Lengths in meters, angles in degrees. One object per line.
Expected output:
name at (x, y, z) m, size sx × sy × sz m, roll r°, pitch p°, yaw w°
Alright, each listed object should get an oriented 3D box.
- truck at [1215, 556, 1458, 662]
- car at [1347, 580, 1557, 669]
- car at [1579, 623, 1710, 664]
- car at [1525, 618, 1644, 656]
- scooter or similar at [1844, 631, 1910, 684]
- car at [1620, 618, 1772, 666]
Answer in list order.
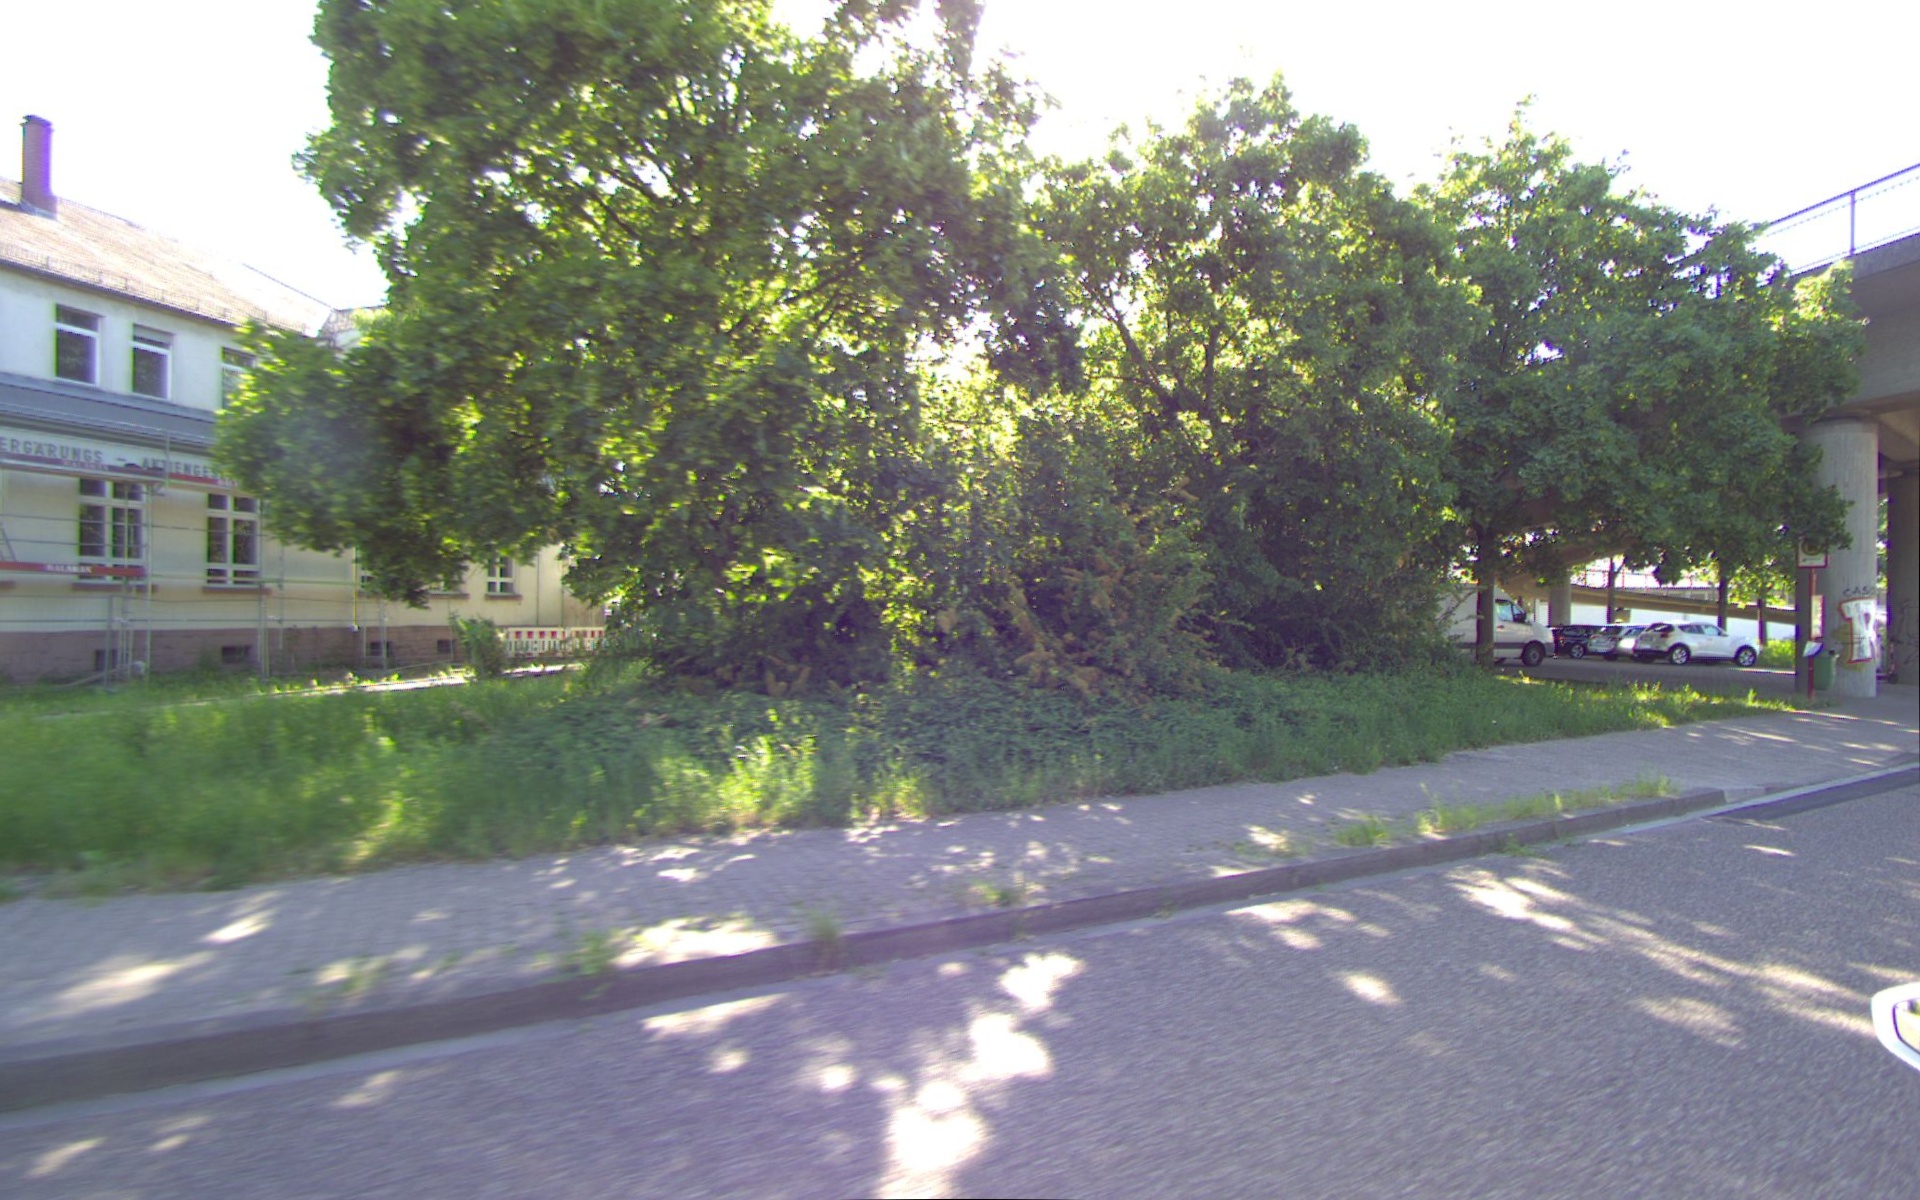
truck at (13.403, 0.321, 36.150) m, size 7.811 × 3.598 × 2.483 m, roll 1°, pitch -1°, yaw -1°
car at (15.603, 0.749, 31.974) m, size 5.897 × 2.717 × 1.944 m, roll 0°, pitch -1°, yaw -7°
car at (26.899, 1.704, 39.518) m, size 4.218 × 1.573 × 1.682 m, roll 1°, pitch -1°, yaw -7°
car at (26.710, 1.567, 43.037) m, size 4.218 × 1.573 × 1.682 m, roll 1°, pitch -1°, yaw -7°
scooter or similar at (23.736, 1.474, 26.015) m, size 0.567 × 1.318 × 1.309 m, roll 1°, pitch -1°, yaw 4°
car at (26.962, 1.559, 36.888) m, size 4.198 × 1.663 × 1.870 m, roll 0°, pitch -4°, yaw -2°
